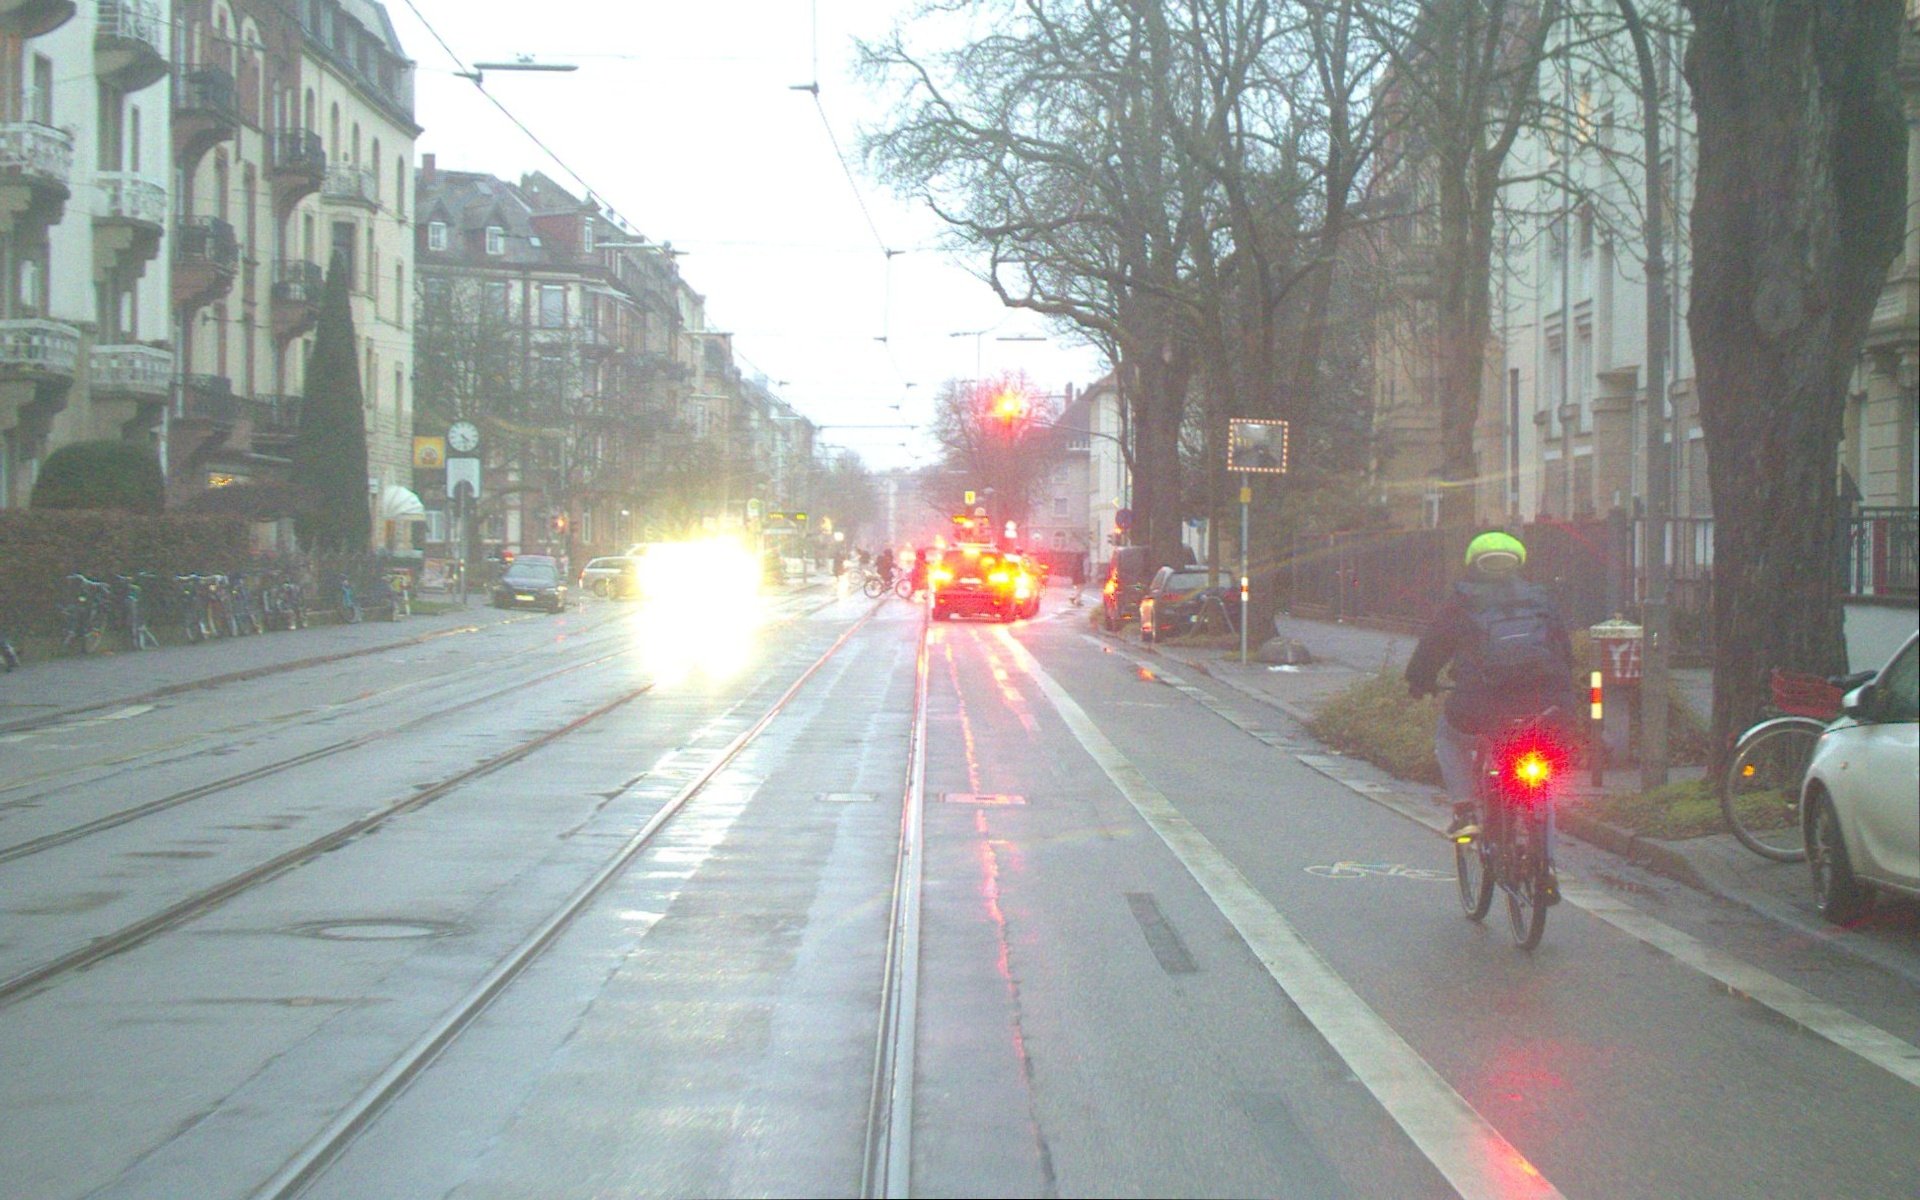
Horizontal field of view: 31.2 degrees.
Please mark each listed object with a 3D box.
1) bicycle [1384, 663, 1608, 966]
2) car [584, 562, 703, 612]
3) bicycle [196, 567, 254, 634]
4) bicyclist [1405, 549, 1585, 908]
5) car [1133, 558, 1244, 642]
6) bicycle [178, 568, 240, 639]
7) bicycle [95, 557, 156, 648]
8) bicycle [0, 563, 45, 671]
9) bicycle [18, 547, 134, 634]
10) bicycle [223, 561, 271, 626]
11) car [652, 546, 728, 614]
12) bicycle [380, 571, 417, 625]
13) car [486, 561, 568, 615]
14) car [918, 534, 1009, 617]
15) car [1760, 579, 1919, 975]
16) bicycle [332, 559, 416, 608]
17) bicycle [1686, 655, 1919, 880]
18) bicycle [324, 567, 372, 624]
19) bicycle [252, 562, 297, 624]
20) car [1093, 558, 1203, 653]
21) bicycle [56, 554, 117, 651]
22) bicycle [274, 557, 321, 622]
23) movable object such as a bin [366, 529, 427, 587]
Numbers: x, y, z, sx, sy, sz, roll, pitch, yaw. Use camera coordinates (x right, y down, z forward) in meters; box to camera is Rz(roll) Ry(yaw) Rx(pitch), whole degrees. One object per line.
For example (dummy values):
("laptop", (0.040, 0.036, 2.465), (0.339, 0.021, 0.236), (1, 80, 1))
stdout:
("bicycle", (2.224, 0.860, 14.486), (0.707, 1.093, 2.029), (0, 2, 2))
("car", (-11.163, -0.456, 121.361), (3.987, 1.722, 1.740), (0, 1, 1))
("bicycle", (-11.472, -0.001, 53.715), (0.692, 1.027, 1.597), (-1, 1, -5))
("bicyclist", (2.220, 0.516, 14.333), (0.656, 1.441, 0.849), (0, 1, 3))
("car", (4.157, -0.033, 62.952), (1.677, 1.455, 4.043), (0, 1, -1))
("bicycle", (-11.342, 0.047, 51.952), (0.692, 1.027, 1.595), (-1, 1, -5))
("bicycle", (-11.502, 0.022, 47.418), (0.692, 1.208, 1.597), (0, 2, -10))
("bicycle", (-11.209, 0.186, 40.266), (0.692, 1.208, 1.597), (0, 2, -6))
("bicycle", (-13.136, -0.138, 51.091), (1.590, 1.259, 0.489), (-1, -4, 3))
("bicycle", (-11.517, -0.093, 55.557), (0.692, 1.027, 1.597), (0, 0, -10))
("car", (-8.021, -0.631, 102.535), (2.046, 1.915, 5.100), (0, 2, -2))
("bicycle", (-11.589, -0.053, 71.022), (0.614, 1.077, 1.811), (0, 2, -5))
("car", (-12.247, -0.356, 97.439), (1.833, 1.442, 4.000), (0, 2, 0))
("car", (0.056, -0.565, 82.179), (1.993, 1.890, 4.759), (1, 0, -1))
("car", (4.620, 0.706, 14.200), (1.691, 1.514, 3.638), (0, 1, -2))
("bicycle", (-12.982, -0.368, 76.227), (1.804, 1.077, 0.616), (0, 1, -7))
("bicycle", (4.535, 0.823, 17.086), (1.713, 1.067, 0.663), (0, 1, 0))
("bicycle", (-11.583, -0.093, 65.133), (0.625, 1.014, 1.806), (-1, 1, -2))
("bicycle", (-11.591, -0.118, 58.184), (0.692, 1.027, 1.597), (0, 0, -10))
("car", (4.034, 0.080, 74.447), (1.993, 1.894, 5.027), (0, 2, -1))
("bicycle", (-11.353, 0.021, 44.700), (0.629, 1.208, 1.597), (0, 2, -10))
("bicycle", (-11.571, -0.197, 60.076), (0.486, 1.096, 1.931), (-1, 1, -2))
("movable object such as a bin", (-15.058, -1.116, 91.873), (1.409, 1.525, 1.365), (0, 1, 0))
